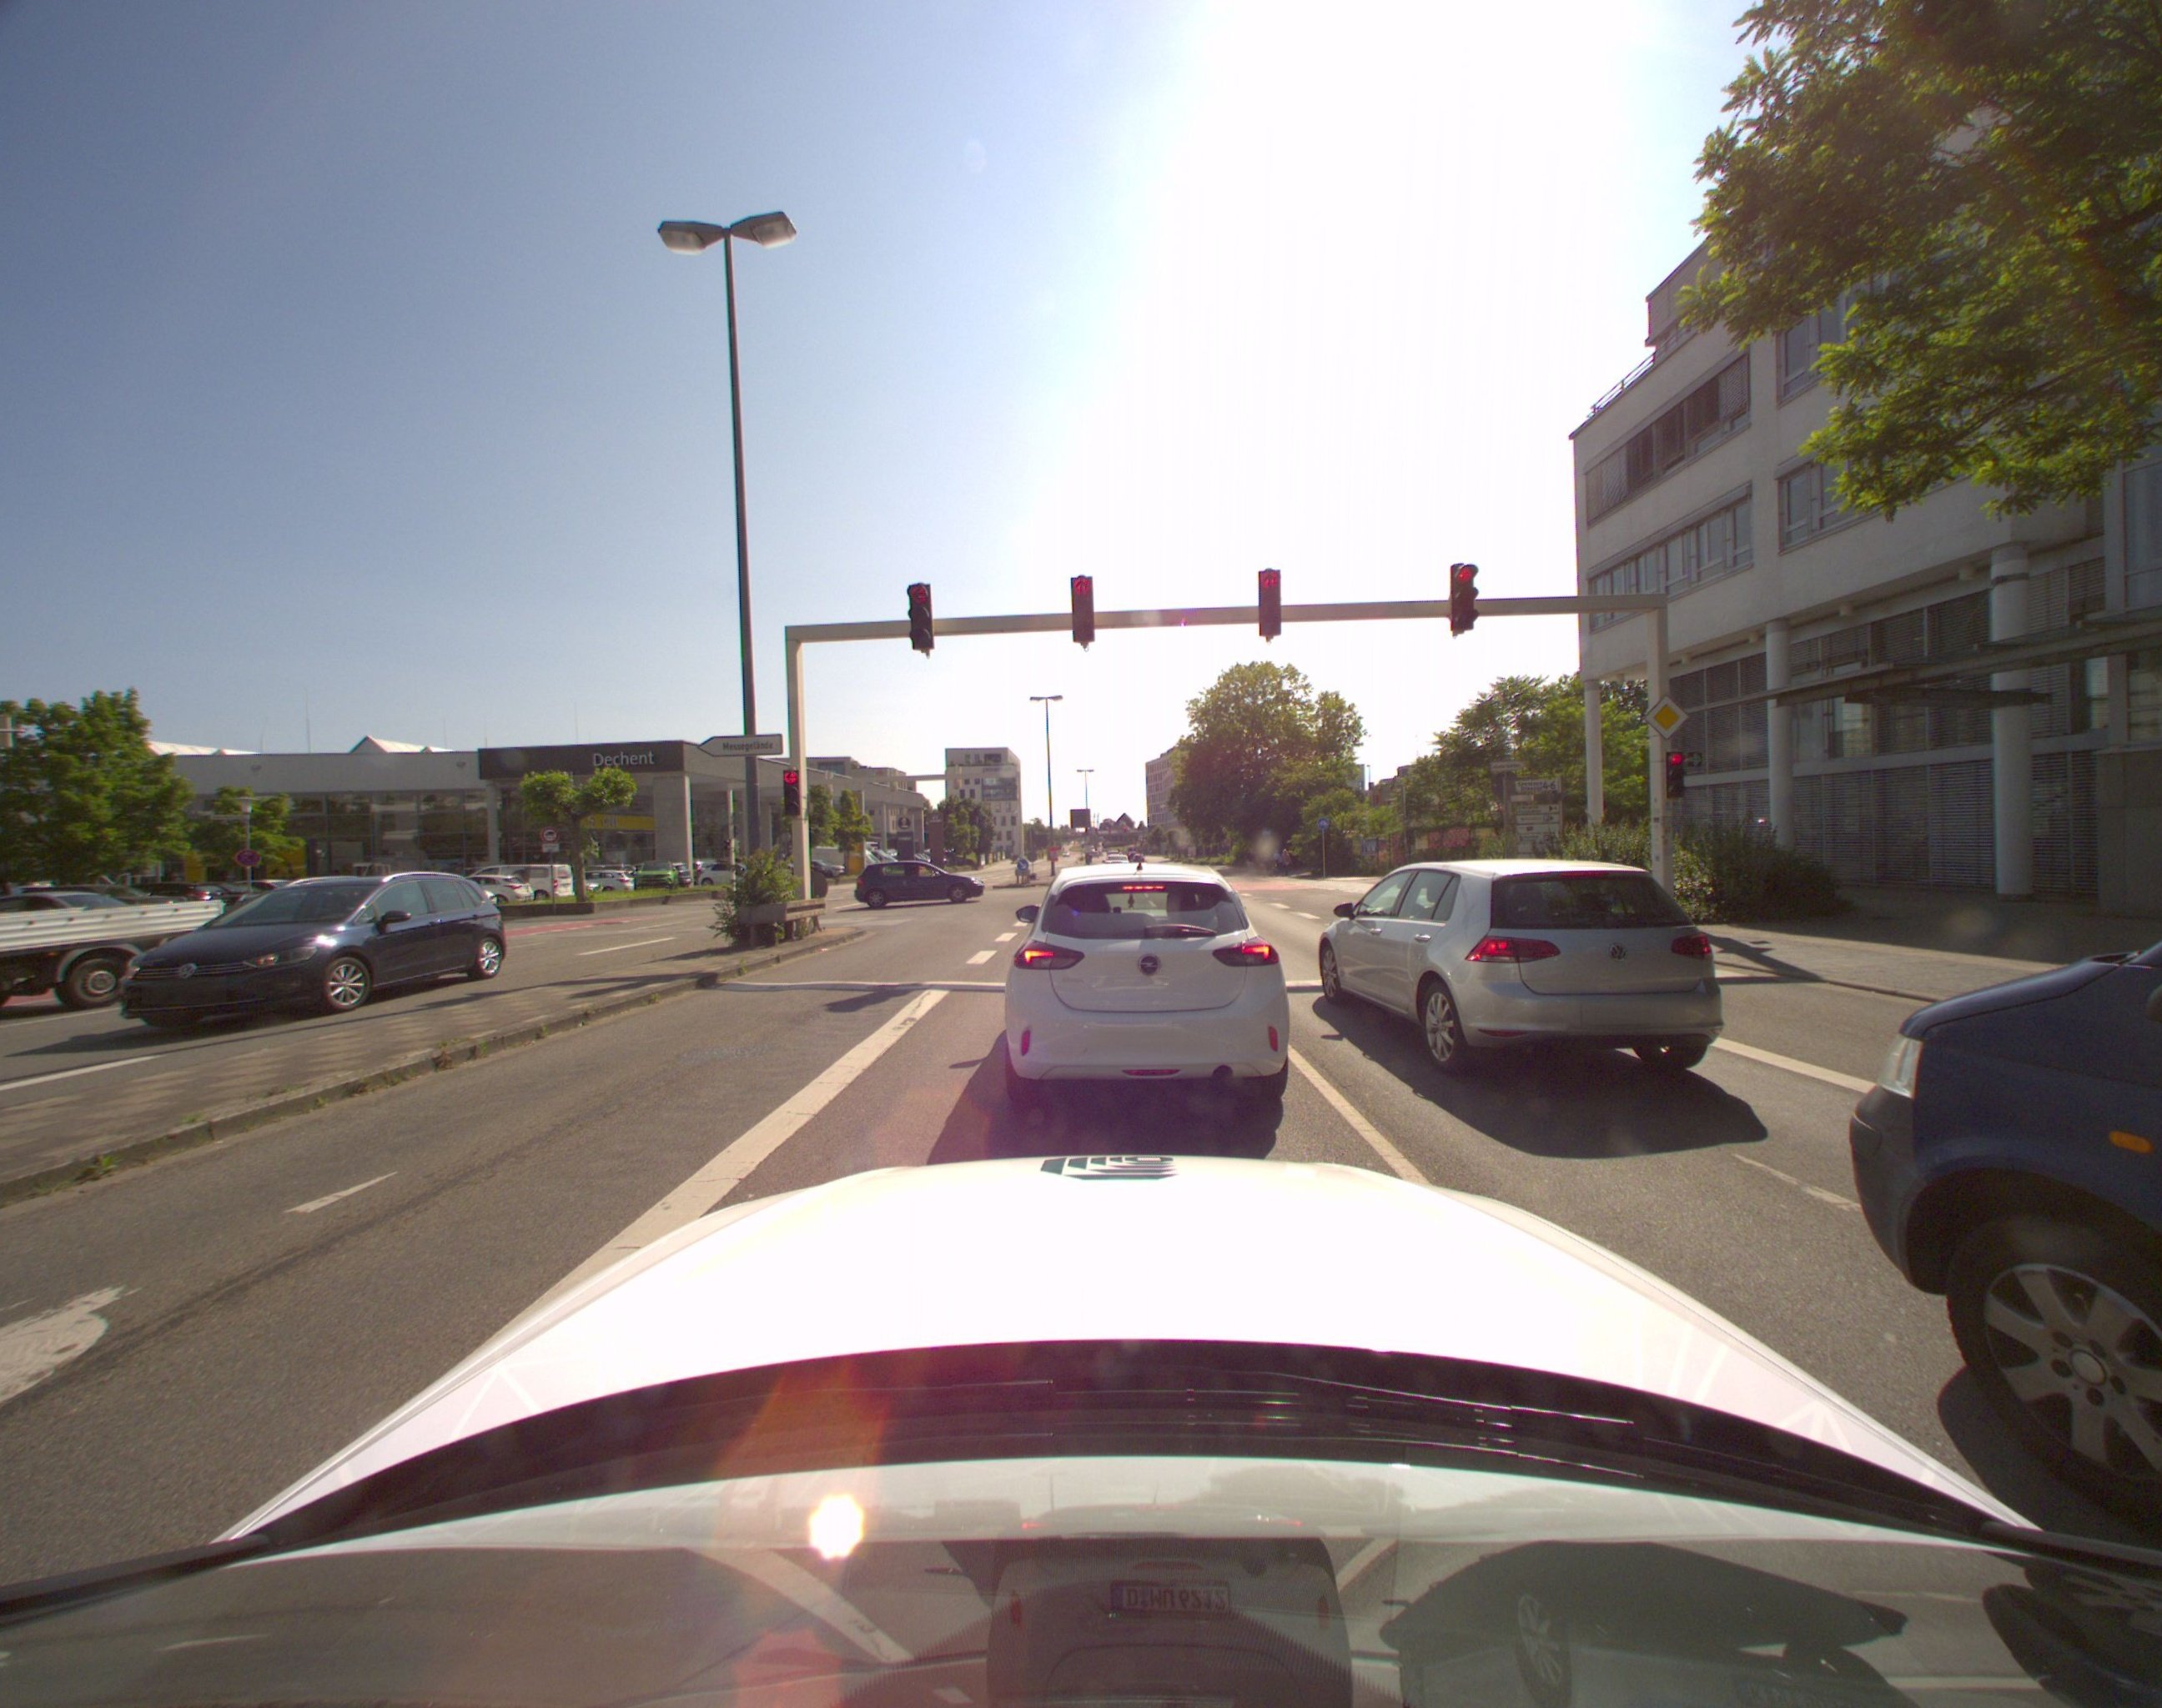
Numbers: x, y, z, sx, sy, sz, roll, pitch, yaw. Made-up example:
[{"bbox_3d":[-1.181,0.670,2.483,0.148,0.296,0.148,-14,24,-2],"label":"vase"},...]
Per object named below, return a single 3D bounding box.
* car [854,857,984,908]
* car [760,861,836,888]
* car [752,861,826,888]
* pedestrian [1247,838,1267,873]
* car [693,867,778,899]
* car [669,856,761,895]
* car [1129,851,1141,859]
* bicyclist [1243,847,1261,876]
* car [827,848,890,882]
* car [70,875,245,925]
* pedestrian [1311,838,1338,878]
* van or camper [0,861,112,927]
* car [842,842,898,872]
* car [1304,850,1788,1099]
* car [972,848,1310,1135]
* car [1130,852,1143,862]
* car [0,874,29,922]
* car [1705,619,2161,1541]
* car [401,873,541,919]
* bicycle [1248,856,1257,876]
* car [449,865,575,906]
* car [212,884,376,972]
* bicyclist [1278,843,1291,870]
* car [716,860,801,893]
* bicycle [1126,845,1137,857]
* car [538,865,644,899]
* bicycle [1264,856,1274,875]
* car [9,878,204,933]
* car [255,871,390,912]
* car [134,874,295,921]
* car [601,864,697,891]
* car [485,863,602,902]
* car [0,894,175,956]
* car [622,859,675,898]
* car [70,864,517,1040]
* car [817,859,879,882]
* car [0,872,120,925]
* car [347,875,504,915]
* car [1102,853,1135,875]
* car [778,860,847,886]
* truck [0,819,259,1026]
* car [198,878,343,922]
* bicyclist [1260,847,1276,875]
[{"bbox_3d":[-5.239,0.886,26.745,3.986,1.442,1.994,-2,0,-9],"label":"car"},{"bbox_3d":[-18.978,1.351,54.710,4.343,1.696,1.999,-2,0,-1],"label":"car"},{"bbox_3d":[-20.360,1.421,56.952,4.344,1.696,1.999,-2,0,-1],"label":"car"},{"bbox_3d":[11.597,0.091,53.593,1.023,2.238,1.039,-2,0,1],"label":"pedestrian"},{"bbox_3d":[-19.833,1.643,46.873,3.981,1.599,1.996,-2,0,-6],"label":"car"},{"bbox_3d":[-19.159,1.091,42.783,3.859,1.837,1.999,-2,0,-1],"label":"car"},{"bbox_3d":[9.307,0.214,140.758,1.799,1.386,4.001,0,-1,2],"label":"car"},{"bbox_3d":[10.509,0.455,50.082,0.876,1.772,0.864,-2,0,1],"label":"bicyclist"},{"bbox_3d":[-18.670,0.943,68.390,4.469,2.684,2.134,-2,0,10],"label":"car"},{"bbox_3d":[-36.160,1.765,32.000,4.348,1.696,1.997,-2,0,-4],"label":"car"},{"bbox_3d":[12.431,0.207,41.577,1.023,2.013,1.039,-2,0,1],"label":"pedestrian"},{"bbox_3d":[-41.231,1.547,31.443,4.711,2.400,1.995,-2,0,-8],"label":"van or camper"},{"bbox_3d":[-19.092,0.267,73.690,4.334,2.601,2.004,-2,0,6],"label":"car"},{"bbox_3d":[3.342,0.741,6.893,1.801,1.429,4.000,-2,-1,0],"label":"car"},{"bbox_3d":[0.380,0.743,6.395,1.773,1.494,4.001,-2,0,2],"label":"car"},{"bbox_3d":[8.436,0.474,123.313,1.799,1.386,4.001,0,-1,2],"label":"car"},{"bbox_3d":[-40.627,1.652,28.400,4.371,1.696,1.987,-2,0,-20],"label":"car"},{"bbox_3d":[3.222,0.444,0.491,1.986,1.948,4.892,-2,-1,2],"label":"car"},{"bbox_3d":[-26.168,1.774,35.070,4.351,1.696,1.996,-2,0,-6],"label":"car"},{"bbox_3d":[10.525,0.727,50.065,0.371,1.216,1.154,0,0,2],"label":"bicycle"},{"bbox_3d":[-26.565,1.441,38.161,4.353,1.696,1.995,-2,0,-7],"label":"car"},{"bbox_3d":[-15.287,1.317,15.766,3.949,1.360,1.917,0,-1,41],"label":"car"},{"bbox_3d":[12.265,0.152,49.123,0.650,1.637,0.660,0,-1,1],"label":"bicyclist"},{"bbox_3d":[-19.598,1.338,49.585,4.284,1.765,1.999,-2,0,-1],"label":"car"},{"bbox_3d":[9.668,-0.535,155.466,1.986,2.157,4.001,-2,0,1],"label":"bicycle"},{"bbox_3d":[-26.154,1.494,43.588,4.352,1.591,1.996,-2,0,-7],"label":"car"},{"bbox_3d":[11.180,0.687,48.436,0.372,1.147,1.034,0,-1,0],"label":"bicycle"},{"bbox_3d":[-35.143,1.816,29.478,4.348,1.696,1.997,-2,0,-4],"label":"car"},{"bbox_3d":[-36.616,1.776,39.417,4.352,1.696,1.995,-2,0,-7],"label":"car"},{"bbox_3d":[-36.329,1.804,34.249,4.348,1.696,1.997,-2,0,-4],"label":"car"},{"bbox_3d":[-24.700,1.372,46.682,4.352,1.268,1.995,-3,-2,-7],"label":"car"},{"bbox_3d":[-26.626,1.379,40.511,4.353,1.696,1.995,-2,0,-7],"label":"car"},{"bbox_3d":[-27.601,1.925,22.068,3.894,1.438,1.776,-2,0,-3],"label":"car"},{"bbox_3d":[-21.250,1.216,39.959,1.915,1.733,3.258,-2,-1,-35],"label":"car"},{"bbox_3d":[-9.185,0.983,10.118,1.884,1.617,4.122,-2,0,-8],"label":"car"},{"bbox_3d":[-18.823,1.347,65.939,4.334,1.696,2.004,-2,0,6],"label":"car"},{"bbox_3d":[-43.159,1.821,33.702,3.984,2.013,1.995,-2,0,-8],"label":"car"},{"bbox_3d":[-25.538,1.587,31.863,4.348,1.300,1.997,-2,0,-4],"label":"car"},{"bbox_3d":[2.395,0.649,52.153,1.986,1.331,4.002,0,-1,2],"label":"car"},{"bbox_3d":[-19.783,1.365,60.156,4.344,1.696,1.999,-2,0,-1],"label":"car"},{"bbox_3d":[-14.516,0.920,9.757,2.346,2.545,6.445,-4,0,4],"label":"truck"},{"bbox_3d":[-36.732,2.062,37.010,4.348,1.696,1.997,-2,0,-4],"label":"car"},{"bbox_3d":[11.139,0.433,48.472,0.687,1.643,0.775,-2,0,-7],"label":"bicyclist"}]
